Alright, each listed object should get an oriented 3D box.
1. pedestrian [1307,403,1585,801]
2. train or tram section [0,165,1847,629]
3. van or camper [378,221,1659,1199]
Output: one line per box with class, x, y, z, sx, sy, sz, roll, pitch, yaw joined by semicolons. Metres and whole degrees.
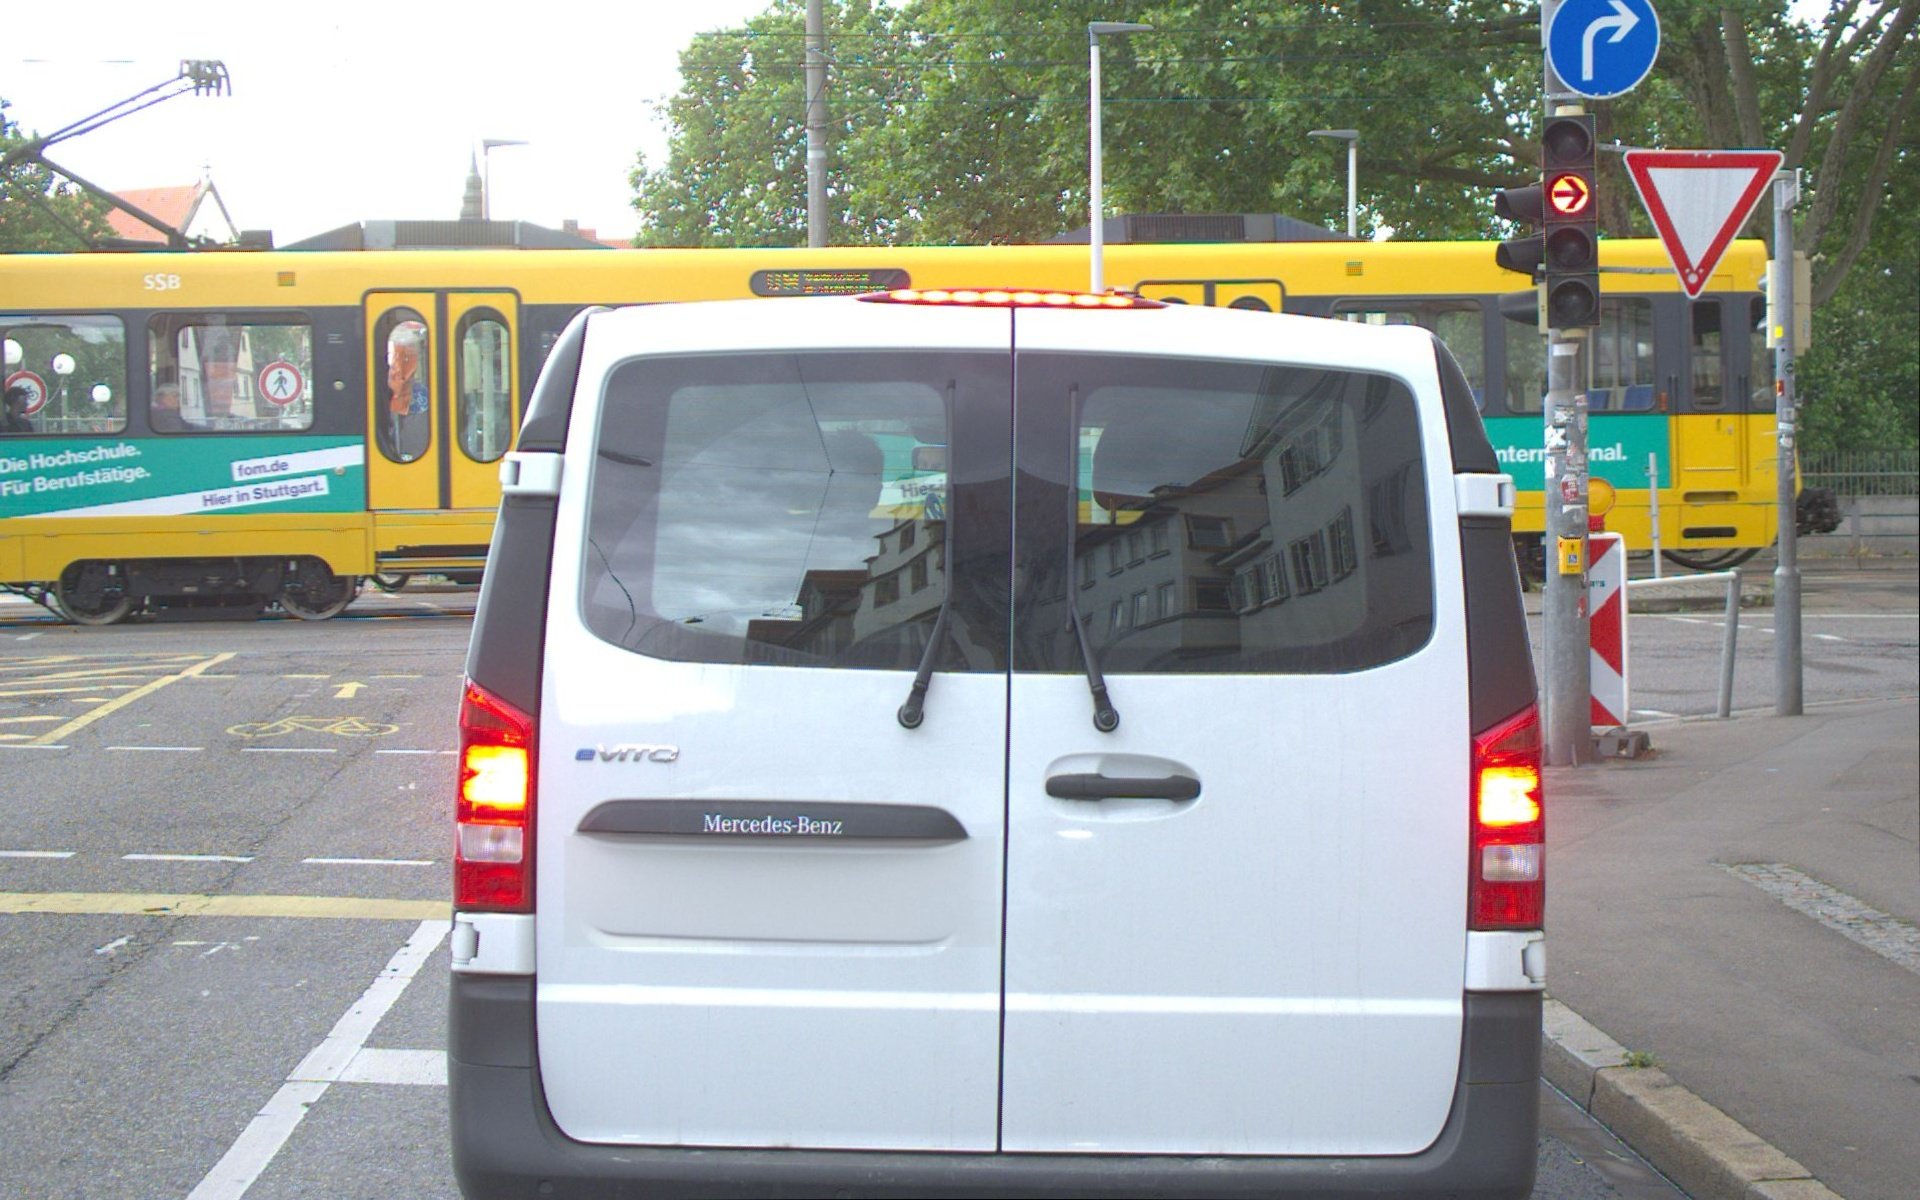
pedestrian;2.366;-0.012;16.705;1.150;1.850;0.679;-3;2;-37
train or tram section;-0.934;-2.053;33.704;18.766;3.988;3.267;-2;4;-7
van or camper;-0.020;0.336;7.471;1.937;1.918;4.442;1;2;-3
